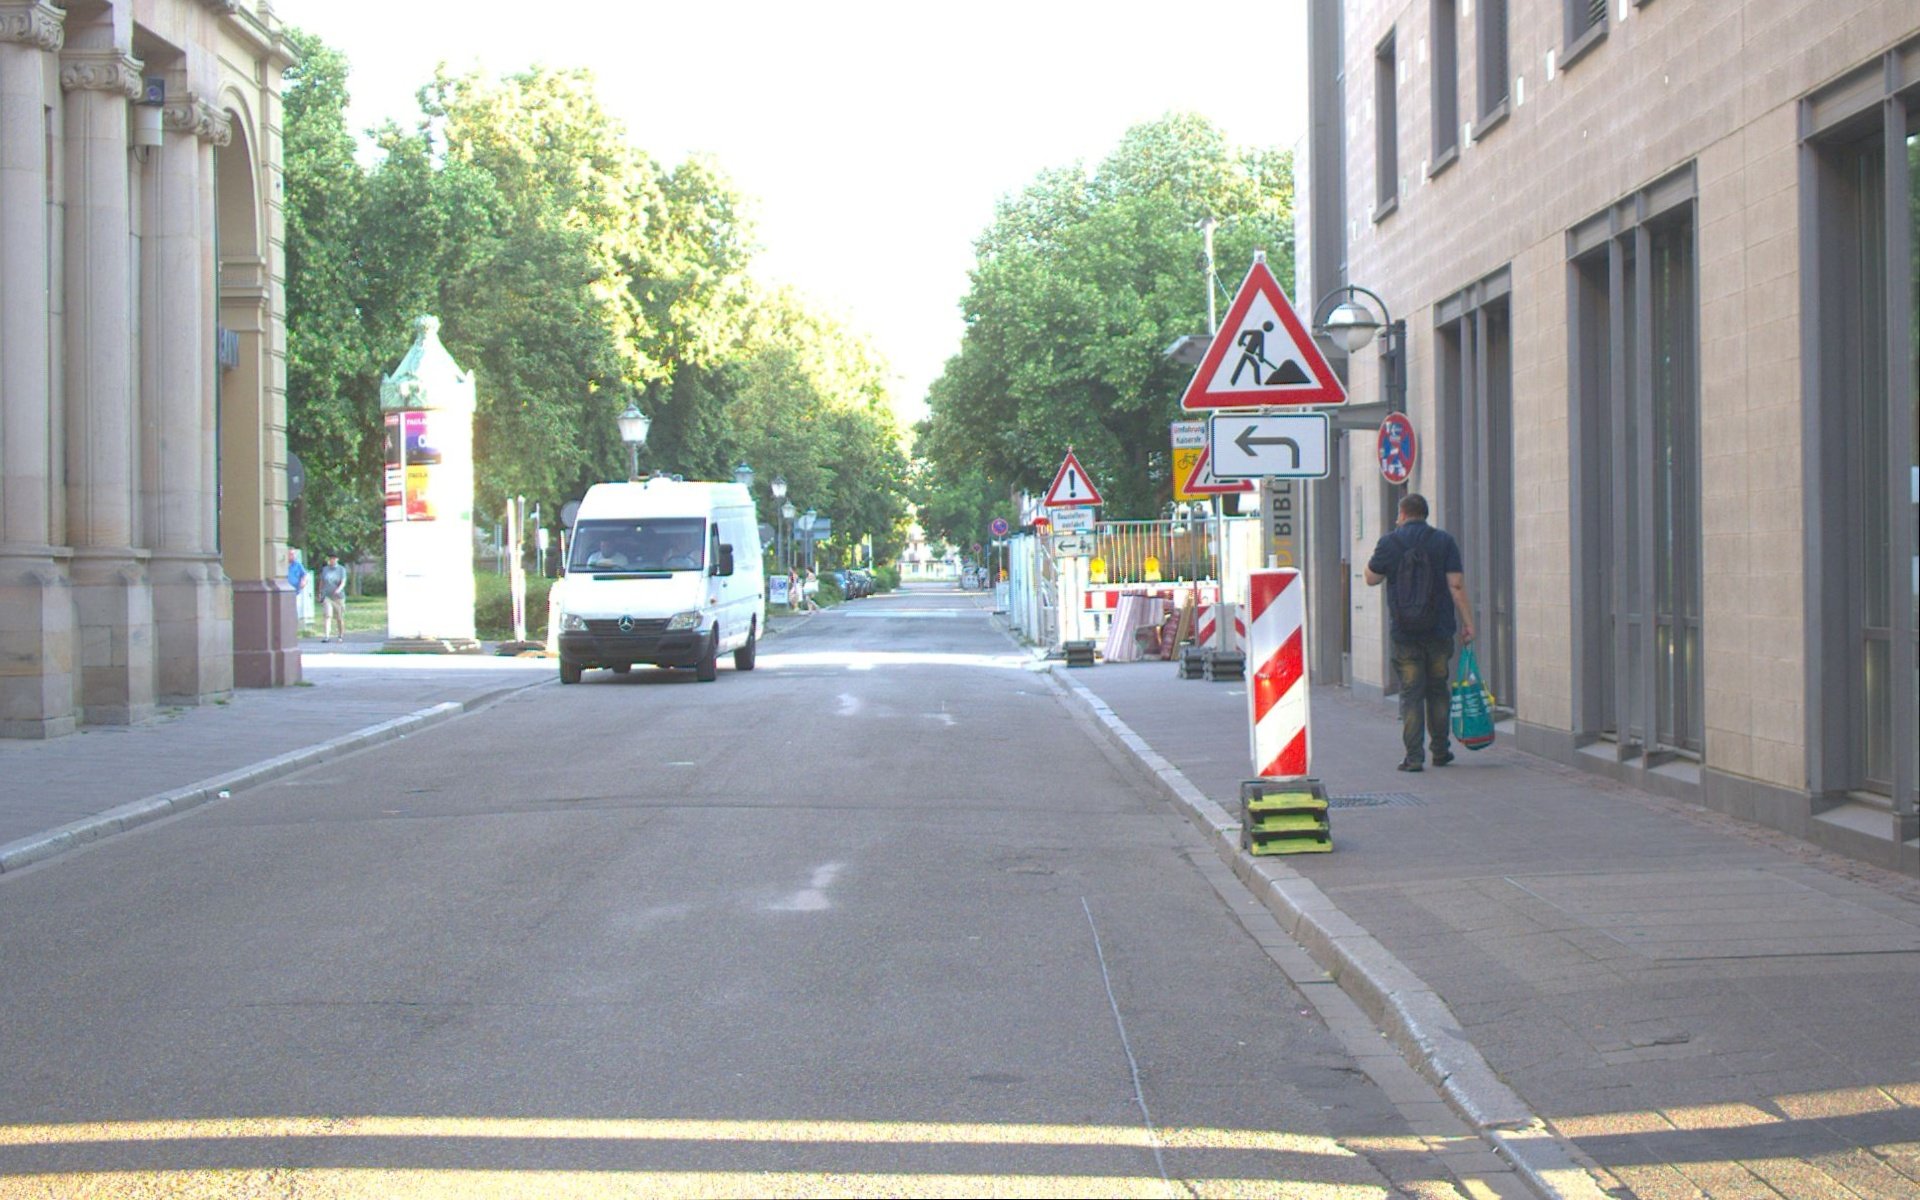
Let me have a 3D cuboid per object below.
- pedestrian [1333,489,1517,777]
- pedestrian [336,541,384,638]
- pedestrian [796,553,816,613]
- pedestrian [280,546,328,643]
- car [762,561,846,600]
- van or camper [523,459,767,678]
[{"bbox_3d":[3.003,0.208,22.290,1.000,1.797,0.882,-2,0,-1],"label":"pedestrian"},{"bbox_3d":[-11.252,-0.201,64.420,0.849,1.801,0.664,0,1,-13],"label":"pedestrian"},{"bbox_3d":[-5.140,-0.578,114.727,0.609,2.007,0.905,0,1,-8],"label":"pedestrian"},{"bbox_3d":[-12.240,-0.115,64.142,0.849,1.801,0.664,0,1,-13],"label":"pedestrian"},{"bbox_3d":[-7.298,-0.915,160.988,3.564,1.777,1.789,-1,0,9],"label":"car"},{"bbox_3d":[-3.902,-0.427,43.843,2.219,2.576,6.372,0,1,3],"label":"van or camper"}]
